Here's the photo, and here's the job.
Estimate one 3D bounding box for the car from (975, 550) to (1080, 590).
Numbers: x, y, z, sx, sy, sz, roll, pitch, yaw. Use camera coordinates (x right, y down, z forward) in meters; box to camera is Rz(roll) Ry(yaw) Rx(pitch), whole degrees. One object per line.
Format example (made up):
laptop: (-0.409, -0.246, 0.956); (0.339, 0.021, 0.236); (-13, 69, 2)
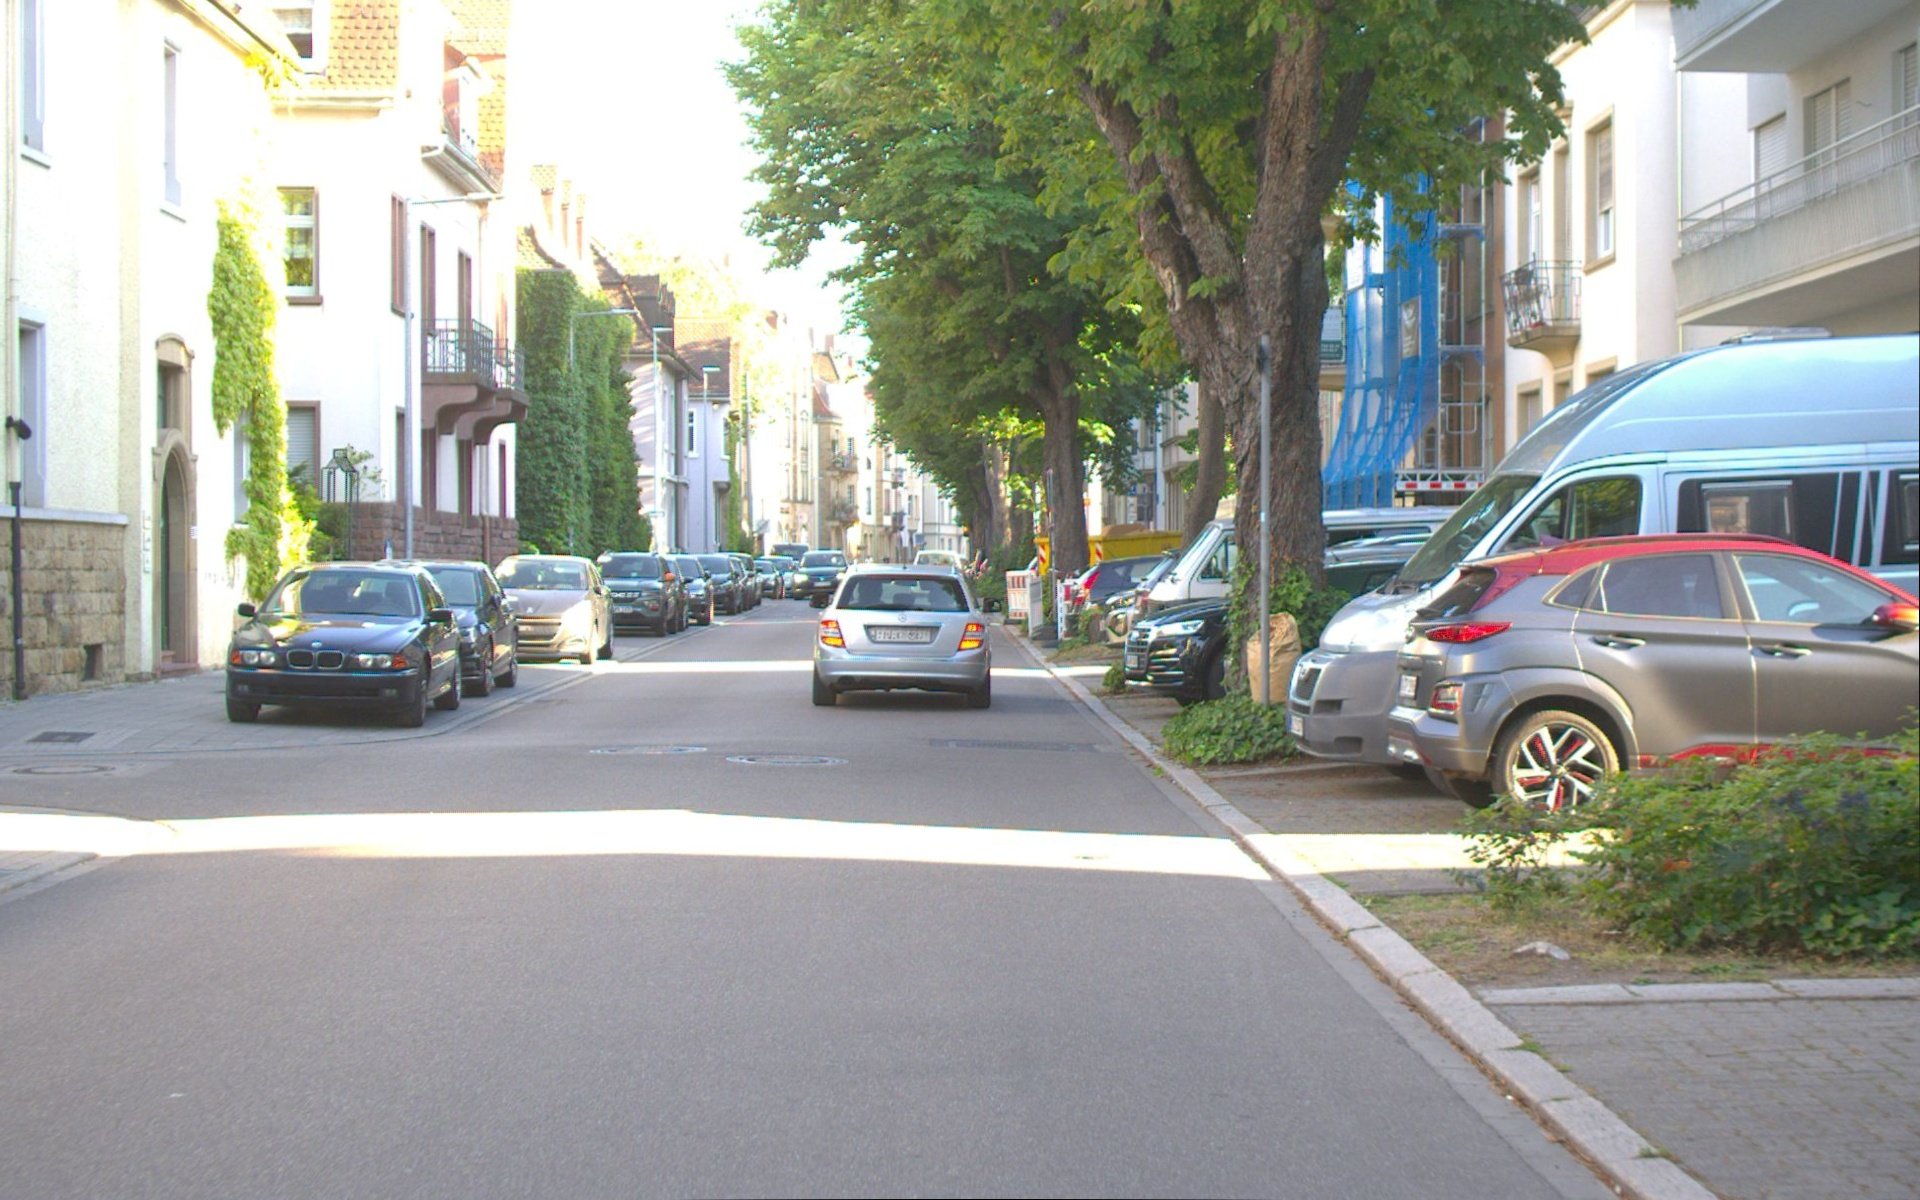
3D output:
car: (2.750, -1.224, 139.862); (4.190, 1.470, 1.851); (-2, 0, 2)

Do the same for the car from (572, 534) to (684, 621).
car: (-5.965, -0.425, 62.140); (1.653, 1.480, 3.764); (1, 1, 0)

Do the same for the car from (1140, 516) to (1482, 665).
car: (4.167, -0.130, 41.237); (3.949, 1.677, 1.705); (-1, 1, 3)

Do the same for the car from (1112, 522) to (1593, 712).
car: (3.642, 0.145, 32.282); (4.174, 1.718, 1.766); (0, 0, -8)

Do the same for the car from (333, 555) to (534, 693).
car: (-5.796, 0.222, 38.236); (1.653, 1.410, 4.168); (1, 1, -1)

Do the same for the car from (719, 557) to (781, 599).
car: (-6.916, -0.718, 113.581); (1.653, 1.319, 4.045); (1, 0, 2)

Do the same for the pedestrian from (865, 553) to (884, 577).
pedestrian: (-6.133, -2.518, 247.262); (1.221, 1.716, 1.503); (1, 0, 3)

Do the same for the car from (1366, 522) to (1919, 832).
car: (4.494, 0.373, 19.115); (4.188, 1.563, 1.759); (-2, 1, -2)

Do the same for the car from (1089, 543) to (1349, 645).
car: (4.089, -0.100, 54.752); (3.987, 1.487, 1.851); (-2, 1, 1)

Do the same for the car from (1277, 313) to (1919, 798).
car: (4.703, -0.299, 21.906); (5.094, 2.892, 2.076); (-1, 1, -2)

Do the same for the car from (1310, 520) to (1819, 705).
car: (4.776, 0.104, 27.518); (3.720, 1.426, 1.759); (0, -1, -2)

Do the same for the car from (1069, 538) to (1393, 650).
car: (4.070, -0.100, 52.192); (4.718, 1.530, 1.851); (-2, 1, 0)

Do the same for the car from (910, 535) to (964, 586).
car: (-0.707, -1.251, 107.842); (1.623, 1.564, 3.680); (0, 1, 0)

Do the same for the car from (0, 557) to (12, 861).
car: (-5.367, 0.531, 14.149); (1.653, 1.449, 4.631); (1, 1, 0)

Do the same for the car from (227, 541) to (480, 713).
car: (-5.618, 0.201, 32.337); (1.709, 1.465, 4.634); (1, 1, -2)

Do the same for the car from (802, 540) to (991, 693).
car: (-0.614, 0.156, 34.875); (1.784, 1.432, 3.851); (1, 0, 0)

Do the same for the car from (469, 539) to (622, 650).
car: (-5.739, -0.104, 48.002); (1.653, 1.442, 4.005); (1, 1, 0)

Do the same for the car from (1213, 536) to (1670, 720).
car: (4.150, 0.236, 29.999); (3.720, 1.549, 1.639); (0, 0, -2)

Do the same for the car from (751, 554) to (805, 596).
car: (-6.478, -0.909, 122.696); (1.653, 1.440, 3.960); (1, 1, 0)

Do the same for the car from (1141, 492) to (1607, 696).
car: (4.165, -0.068, 35.075); (4.469, 2.007, 1.896); (0, 1, -2)

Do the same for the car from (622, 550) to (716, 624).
car: (-6.096, -0.304, 72.399); (1.792, 1.456, 4.778); (1, 1, -3)

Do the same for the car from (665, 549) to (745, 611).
car: (-6.176, -0.500, 83.657); (1.649, 1.416, 4.099); (1, 1, 0)

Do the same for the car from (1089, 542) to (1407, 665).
car: (3.910, 0.036, 47.199); (4.155, 1.534, 1.851); (-2, 1, 0)

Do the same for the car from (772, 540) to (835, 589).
car: (-4.755, -1.103, 104.828); (1.772, 1.443, 4.000); (-1, 1, -1)
